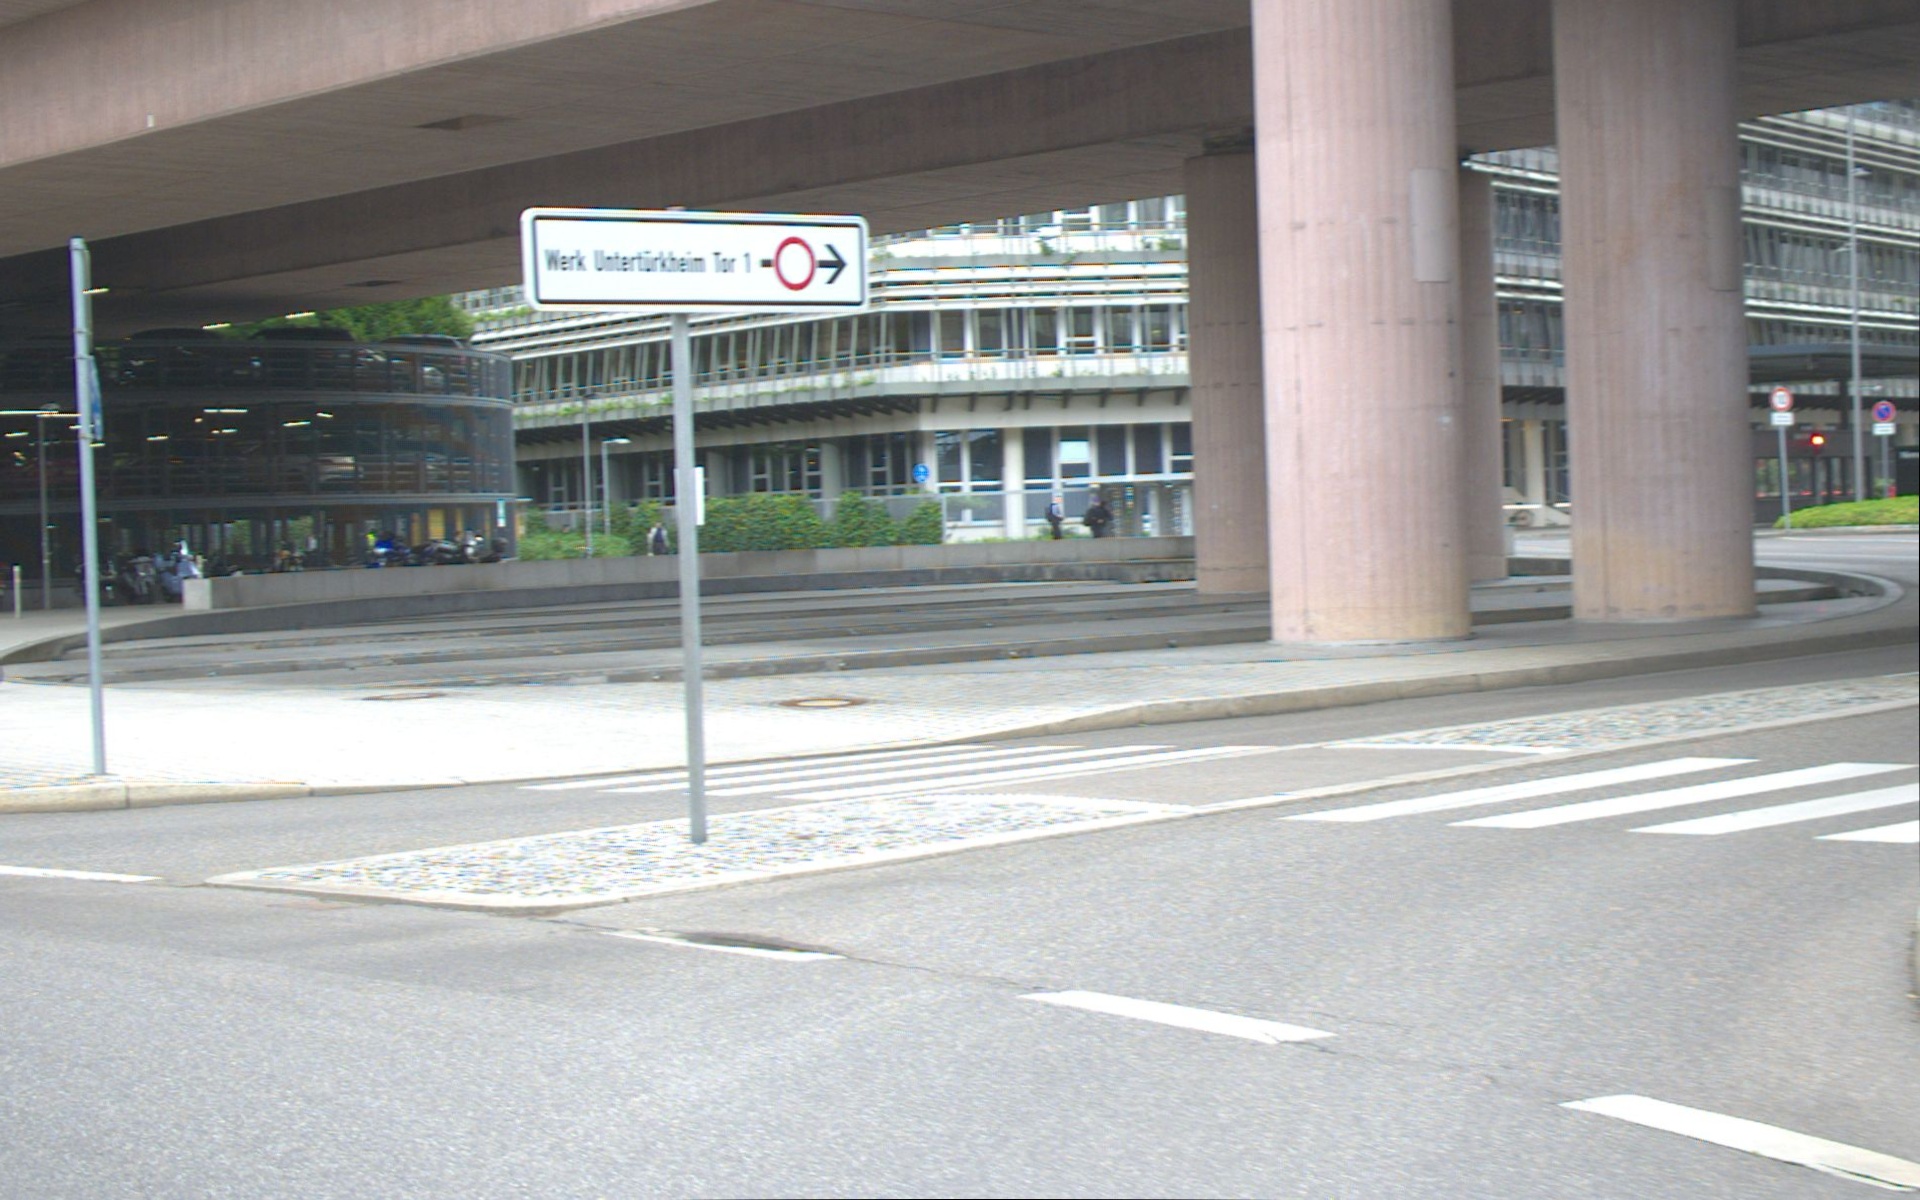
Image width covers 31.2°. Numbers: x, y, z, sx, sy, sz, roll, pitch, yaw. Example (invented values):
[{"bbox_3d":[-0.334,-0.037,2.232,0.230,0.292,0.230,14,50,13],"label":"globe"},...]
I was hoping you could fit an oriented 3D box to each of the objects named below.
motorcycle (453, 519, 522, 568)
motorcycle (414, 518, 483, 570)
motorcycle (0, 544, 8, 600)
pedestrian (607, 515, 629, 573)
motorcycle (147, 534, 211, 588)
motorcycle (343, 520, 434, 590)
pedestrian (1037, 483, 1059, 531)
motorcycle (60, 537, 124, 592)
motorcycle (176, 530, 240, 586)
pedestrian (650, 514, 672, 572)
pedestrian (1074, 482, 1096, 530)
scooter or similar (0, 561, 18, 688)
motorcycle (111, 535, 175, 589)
[{"bbox_3d":[-12.206,-1.466,88.788,0.672,1.215,2.363,-4,3,-36],"label":"motorcycle"},{"bbox_3d":[-13.037,-1.426,87.614,0.672,1.271,2.363,-4,3,-36],"label":"motorcycle"},{"bbox_3d":[-22.407,-0.641,79.226,0.829,1.215,2.079,-2,3,-15],"label":"motorcycle"},{"bbox_3d":[-12.094,-1.972,121.435,0.527,2.007,0.574,-2,1,-29],"label":"pedestrian"},{"bbox_3d":[-18.603,-0.942,81.822,0.672,1.215,2.078,-4,3,-36],"label":"motorcycle"},{"bbox_3d":[-10.962,-0.877,66.017,0.547,1.260,1.938,0,3,31],"label":"motorcycle"},{"bbox_3d":[2.772,-2.927,108.126,0.495,1.476,0.544,-1,3,21],"label":"pedestrian"},{"bbox_3d":[-20.402,-0.845,80.788,0.672,1.215,2.078,-4,3,-36],"label":"motorcycle"},{"bbox_3d":[-17.998,-1.020,82.267,0.672,1.281,2.078,-4,3,-36],"label":"motorcycle"},{"bbox_3d":[-10.583,-2.020,121.659,0.527,2.007,0.574,-2,1,-30],"label":"pedestrian"},{"bbox_3d":[3.916,-2.941,107.767,0.495,1.476,0.544,-1,3,21],"label":"pedestrian"},{"bbox_3d":[-10.572,0.284,35.277,1.643,1.291,0.519,-3,3,-22],"label":"scooter or similar"},{"bbox_3d":[-19.321,-0.900,81.290,0.672,1.215,2.078,-4,3,-36],"label":"motorcycle"}]
